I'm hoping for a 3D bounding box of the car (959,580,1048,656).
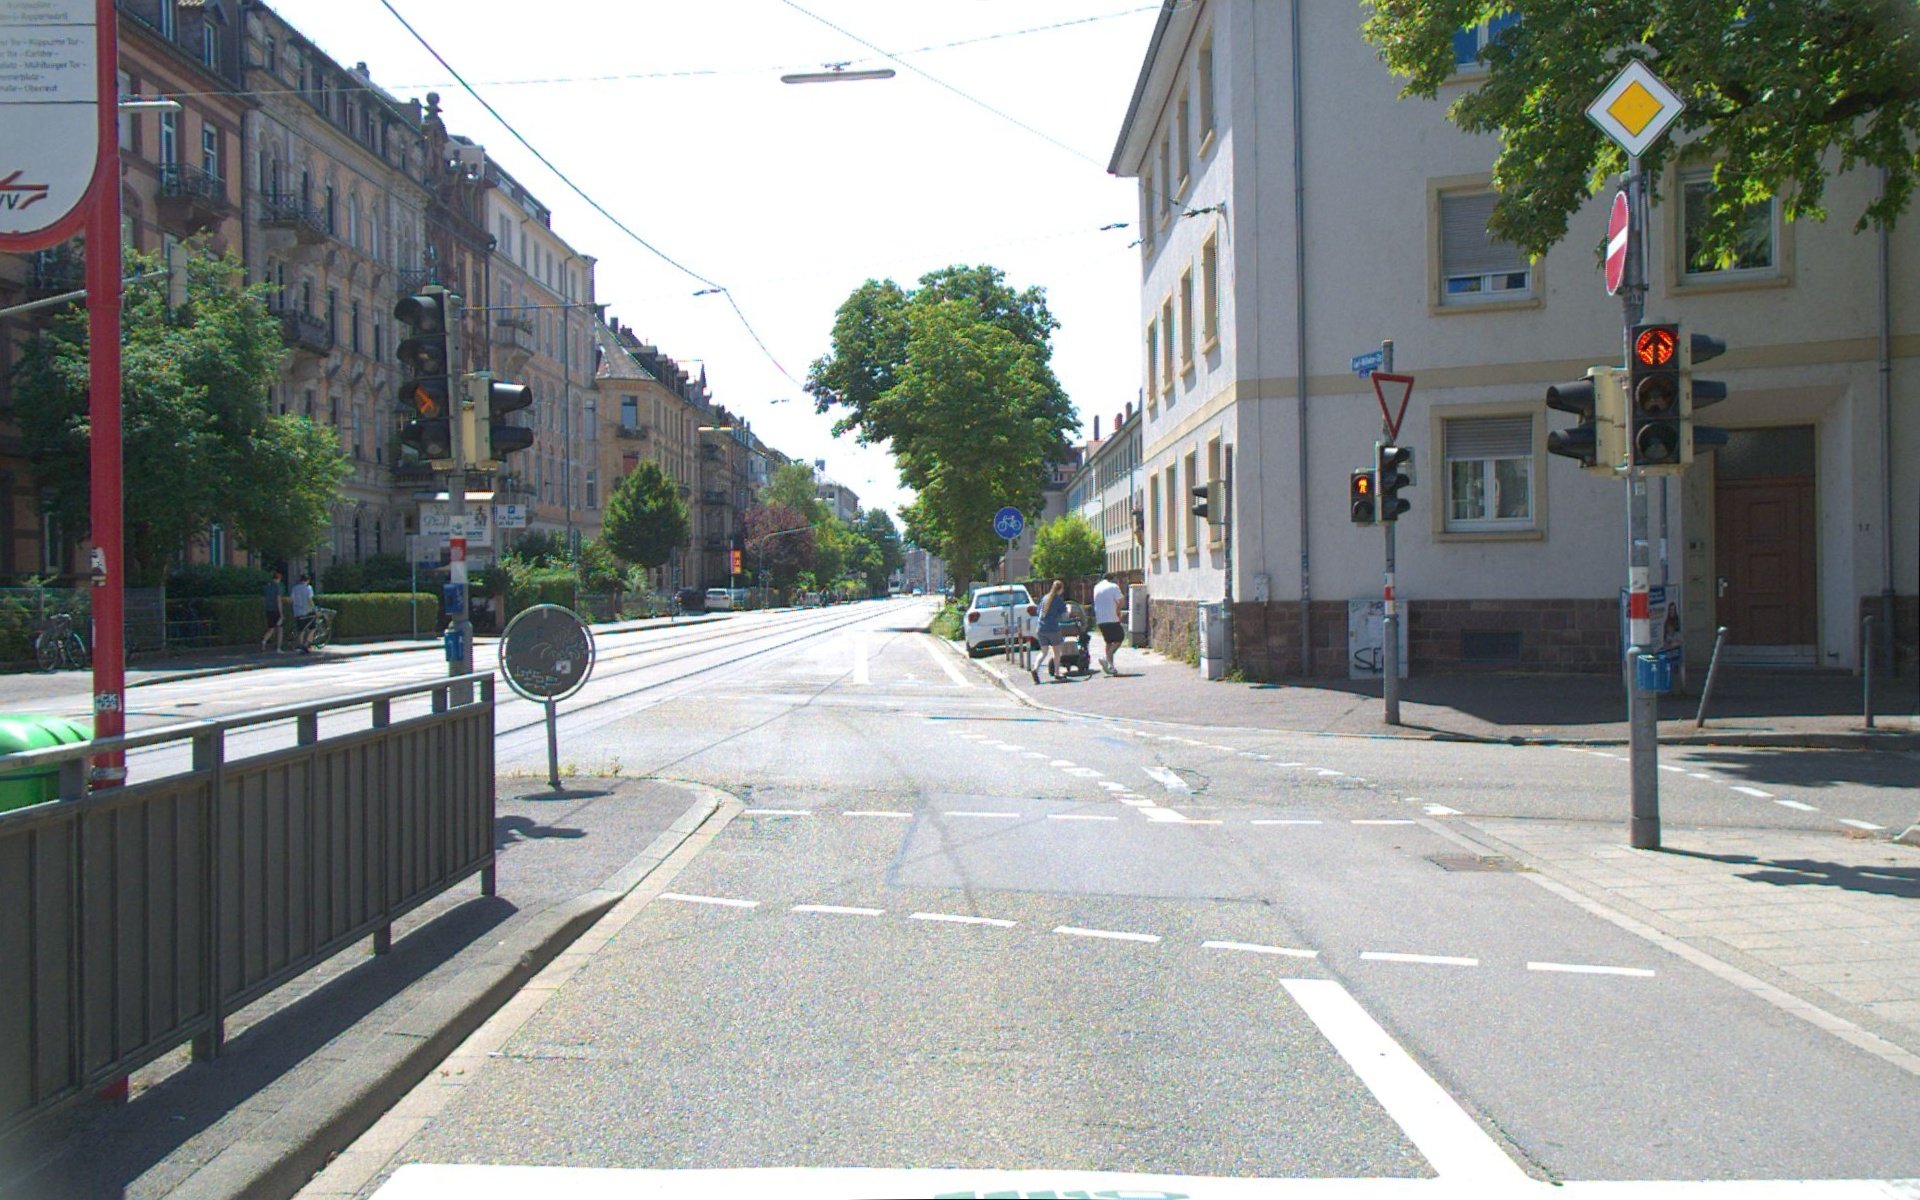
[{"bbox_3d":[0.927,0.397,37.331,1.778,1.542,3.999,-3,0,-1],"label":"car"}]

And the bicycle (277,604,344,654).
[{"bbox_3d":[-15.885,0.697,40.514,0.920,1.156,2.767,1,0,-9],"label":"bicycle"}]

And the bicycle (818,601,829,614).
[{"bbox_3d":[-12.179,0.641,147.745,0.712,1.142,2.085,1,0,1],"label":"bicycle"}]

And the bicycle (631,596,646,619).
[{"bbox_3d":[-15.498,0.336,79.787,0.665,1.083,1.913,-1,0,-12],"label":"bicycle"}]

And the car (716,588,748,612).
[{"bbox_3d":[-17.040,-0.020,123.573,1.880,1.745,3.999,1,0,-1],"label":"car"}]

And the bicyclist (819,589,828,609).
[{"bbox_3d":[-12.182,-0.061,147.657,0.712,1.799,1.079,1,0,1],"label":"bicyclist"}]

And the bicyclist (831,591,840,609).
[{"bbox_3d":[-12.684,-0.009,168.652,0.712,1.850,1.079,1,0,1],"label":"bicyclist"}]

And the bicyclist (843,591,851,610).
[{"bbox_3d":[-11.512,0.039,168.655,0.712,1.850,1.079,1,0,1],"label":"bicyclist"}]

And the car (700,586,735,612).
[{"bbox_3d":[-16.872,-0.052,115.312,1.880,1.745,3.999,1,0,-1],"label":"car"}]

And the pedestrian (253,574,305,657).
[{"bbox_3d":[-15.487,0.341,37.642,0.799,1.854,0.873,1,1,0],"label":"pedestrian"}]

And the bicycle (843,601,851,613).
[{"bbox_3d":[-11.518,0.705,168.652,0.712,1.142,2.085,1,0,1],"label":"bicycle"}]

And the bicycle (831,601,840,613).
[{"bbox_3d":[-12.711,0.711,168.613,0.712,1.142,2.085,1,0,1],"label":"bicycle"}]

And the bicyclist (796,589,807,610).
[{"bbox_3d":[-12.377,-0.053,129.322,0.712,1.657,1.079,1,0,1],"label":"bicyclist"}]

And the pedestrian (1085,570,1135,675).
[{"bbox_3d":[2.441,0.356,26.890,0.546,1.674,0.675,1,-1,31],"label":"pedestrian"}]

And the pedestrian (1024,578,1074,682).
[{"bbox_3d":[1.454,0.484,26.939,0.546,1.674,0.675,1,-1,31],"label":"pedestrian"}]

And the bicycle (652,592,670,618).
[{"bbox_3d":[-15.275,0.250,84.434,0.664,1.301,1.917,-1,0,-4],"label":"bicycle"}]

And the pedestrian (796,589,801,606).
[{"bbox_3d":[-14.512,-0.247,148.575,0.398,1.486,0.436,-1,0,-1],"label":"pedestrian"}]

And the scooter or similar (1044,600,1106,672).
[{"bbox_3d":[1.936,0.592,27.752,0.546,1.175,1.202,1,-1,30],"label":"scooter or similar"}]

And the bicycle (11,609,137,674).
[{"bbox_3d":[-16.714,0.756,31.304,0.918,1.156,2.773,1,0,-2],"label":"bicycle"}]

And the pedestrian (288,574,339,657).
[{"bbox_3d":[-14.743,0.349,37.716,0.799,1.854,0.873,1,1,0],"label":"pedestrian"}]

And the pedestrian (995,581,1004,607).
[{"bbox_3d":[2.480,-0.389,102.870,0.511,1.590,0.573,-1,0,-1],"label":"pedestrian"}]

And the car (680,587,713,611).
[{"bbox_3d":[-19.672,-0.065,123.607,1.880,1.745,3.999,1,0,-1],"label":"car"}]
